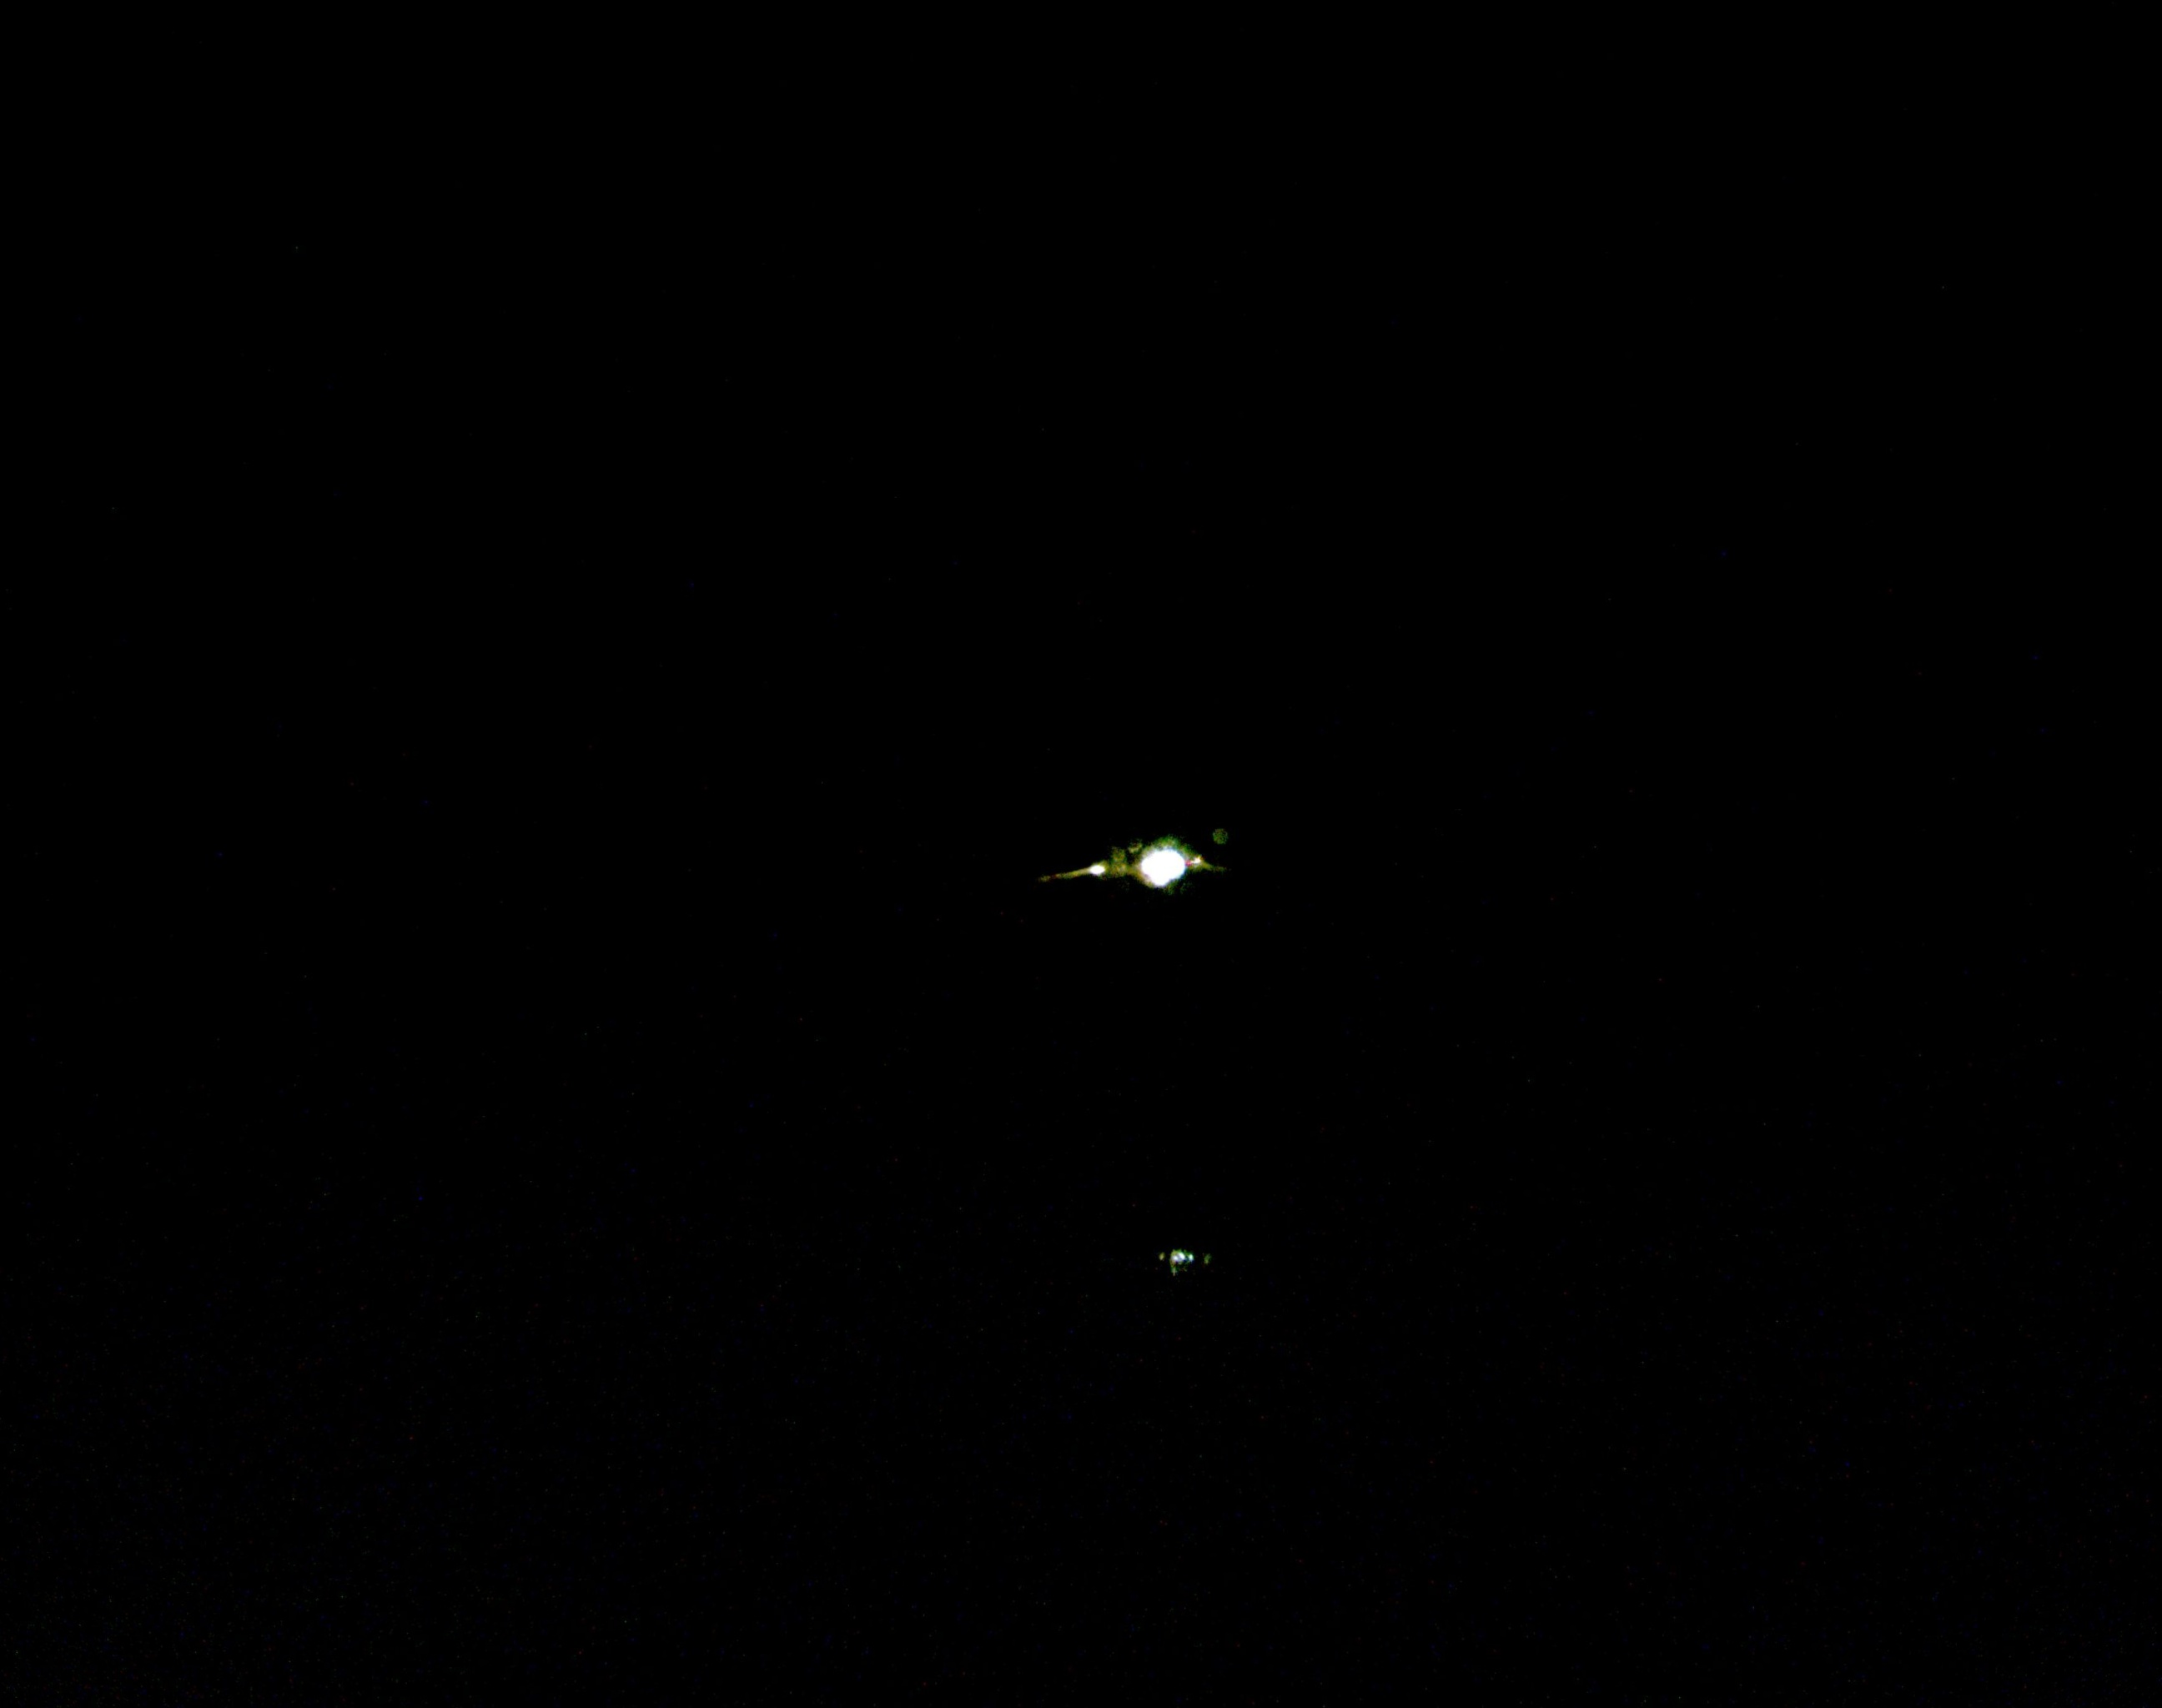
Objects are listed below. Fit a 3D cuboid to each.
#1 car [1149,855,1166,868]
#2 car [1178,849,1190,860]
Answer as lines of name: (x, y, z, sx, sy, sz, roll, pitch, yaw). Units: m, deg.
car: (10.213, 0.972, 101.213, 1.745, 1.623, 3.740, -1, -1, 14)
car: (16.896, 0.107, 124.476, 1.924, 1.636, 4.028, -1, 0, 8)
